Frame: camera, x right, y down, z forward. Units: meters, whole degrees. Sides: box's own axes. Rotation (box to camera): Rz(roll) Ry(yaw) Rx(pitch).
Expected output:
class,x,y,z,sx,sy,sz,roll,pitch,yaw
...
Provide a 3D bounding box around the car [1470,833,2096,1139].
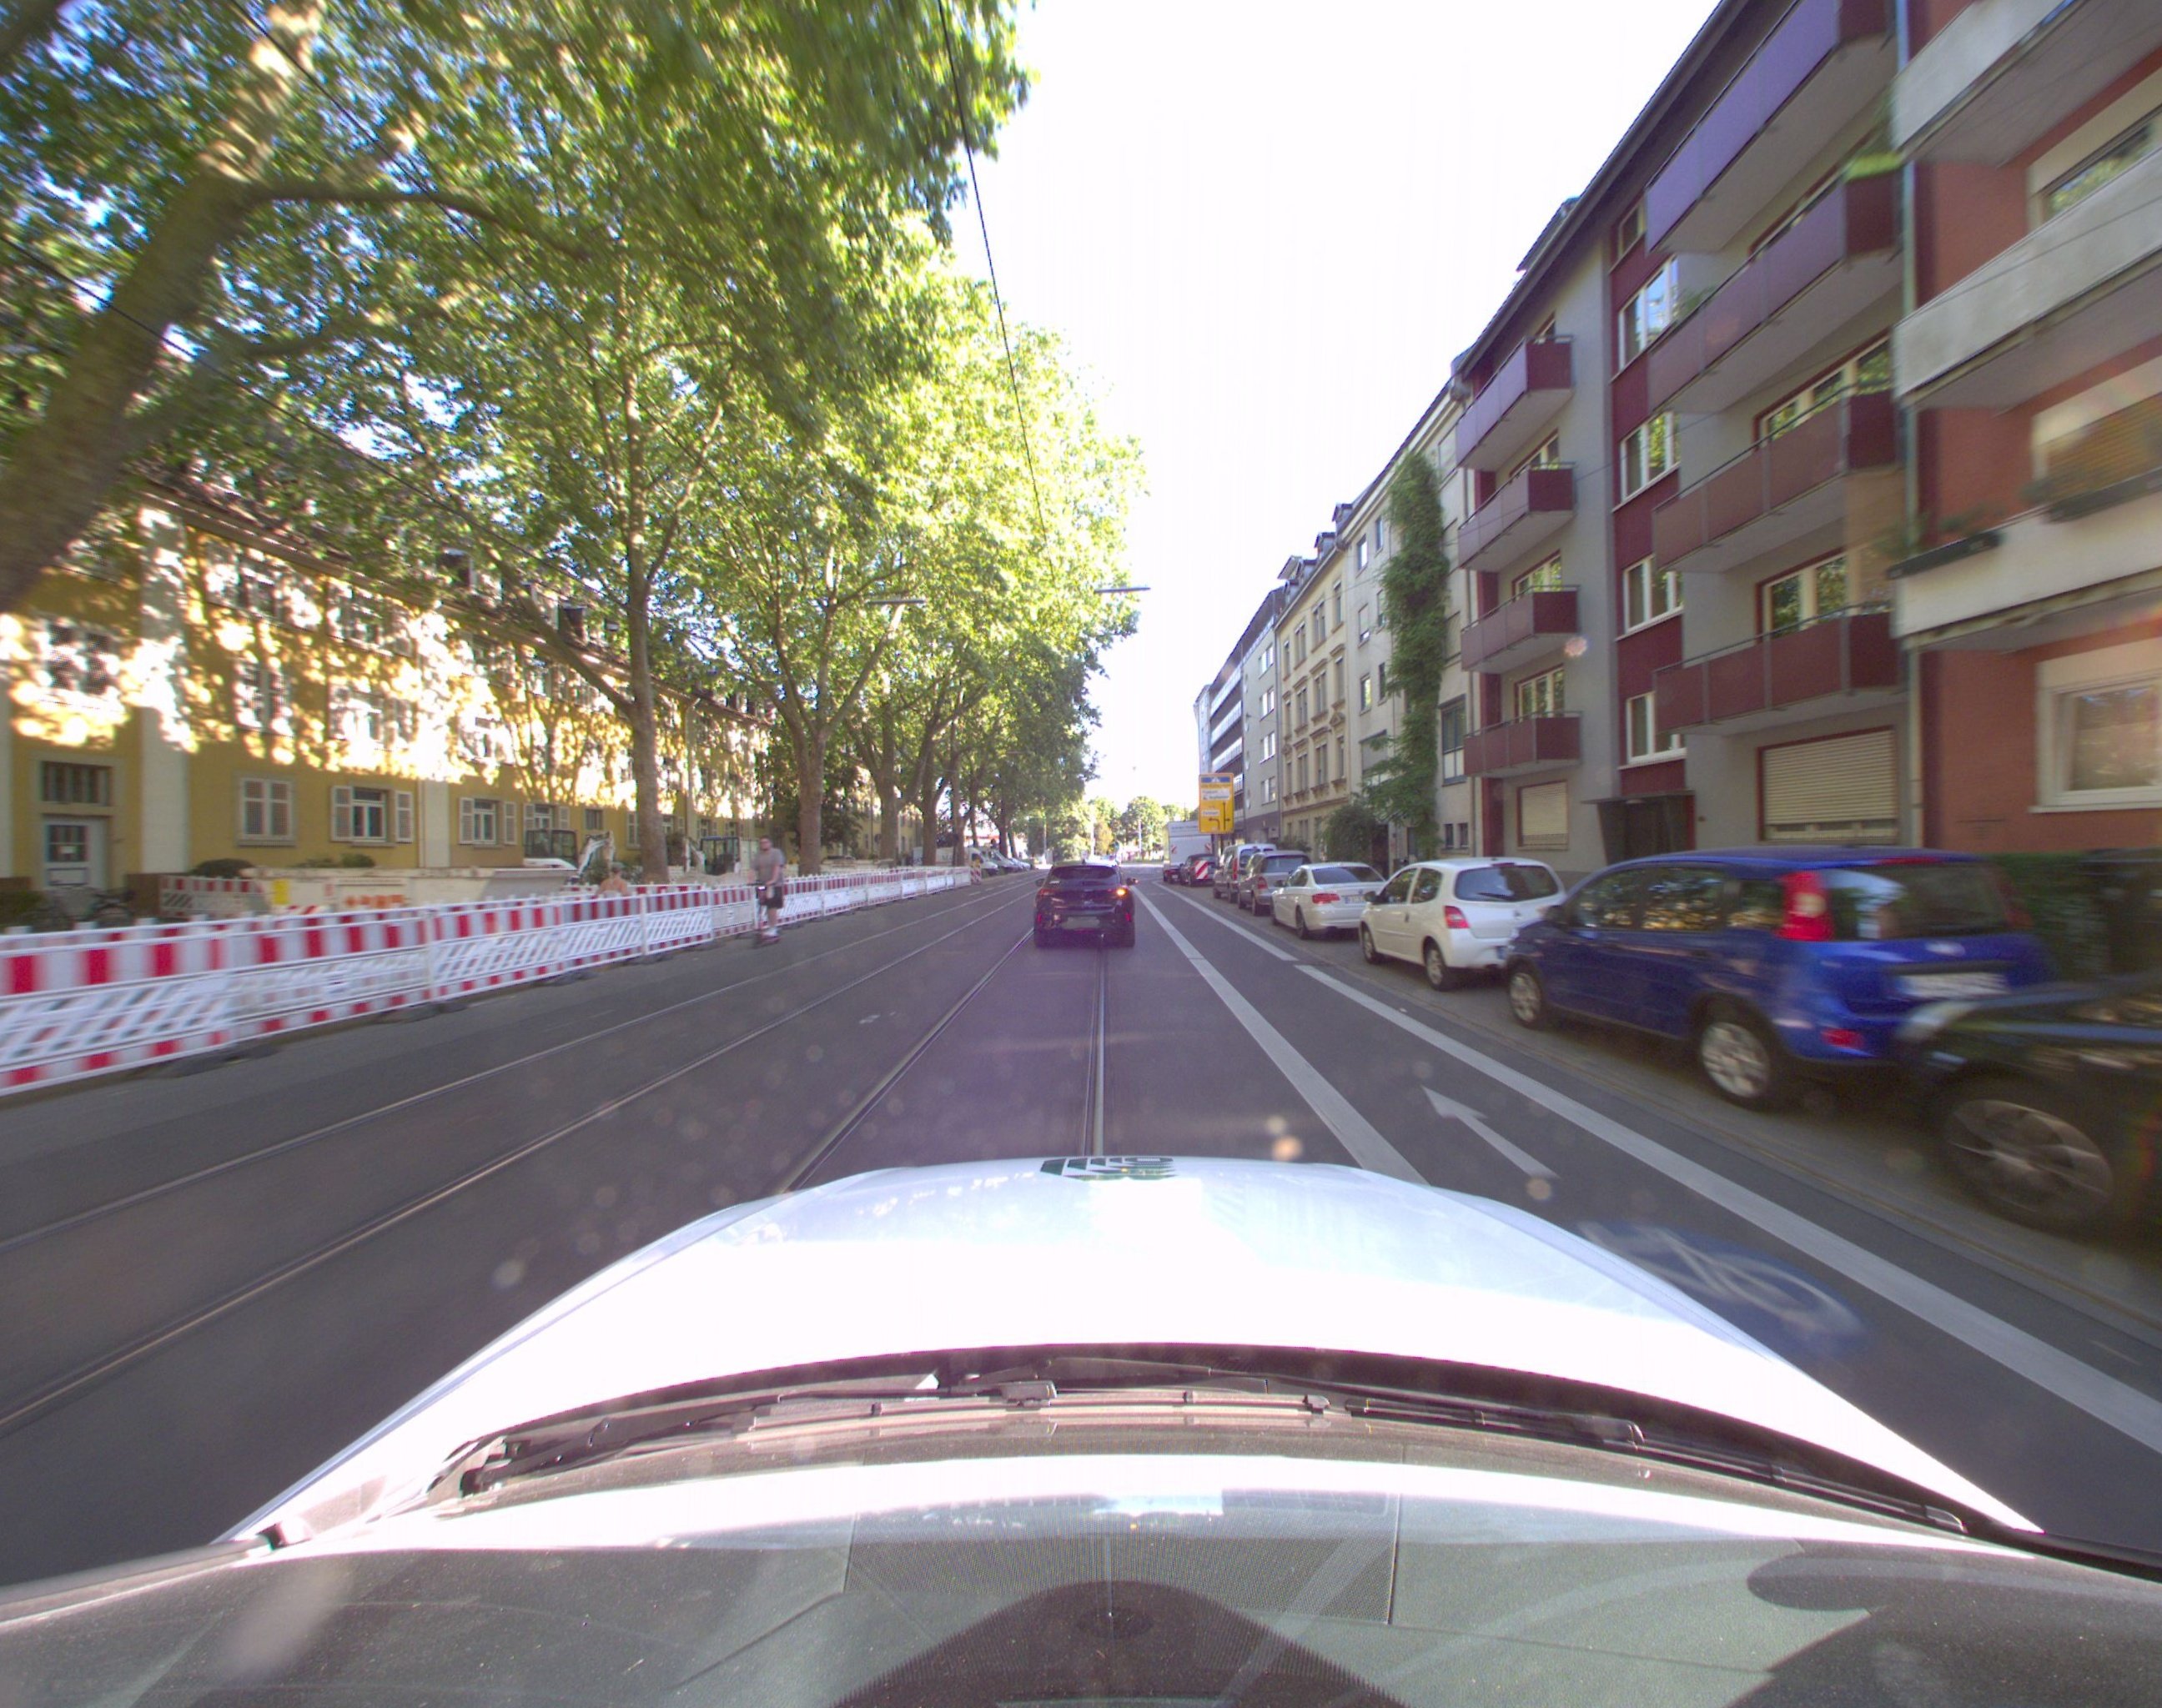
class,x,y,z,sx,sy,sz,roll,pitch,yaw
car,4.570,0.709,6.142,1.521,1.590,3.751,0,-1,0

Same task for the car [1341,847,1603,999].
class,x,y,z,sx,sy,sz,roll,pitch,yaw
car,4.703,0.741,10.447,1.585,1.526,3.837,-3,-1,2

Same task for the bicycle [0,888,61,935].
class,x,y,z,sx,sy,sz,roll,pitch,yaw
bicycle,-20.104,1.074,15.041,0.505,0.819,1.642,-1,0,-2

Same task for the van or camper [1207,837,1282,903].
class,x,y,z,sx,sy,sz,roll,pitch,yaw
van or camper,5.142,0.482,26.120,1.662,1.883,4.213,-2,0,2

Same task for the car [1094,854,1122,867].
class,x,y,z,sx,sy,sz,roll,pitch,yaw
car,3.810,0.949,116.106,2.005,1.695,4.697,-2,0,-27

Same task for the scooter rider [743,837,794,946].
class,x,y,z,sx,sy,sz,roll,pitch,yaw
scooter rider,-5.708,0.672,14.882,0.647,1.957,0.624,0,-1,2

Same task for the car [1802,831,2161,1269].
class,x,y,z,sx,sy,sz,roll,pitch,yaw
car,4.519,0.654,2.180,1.727,1.462,3.917,-3,0,1

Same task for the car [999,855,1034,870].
class,x,y,z,sx,sy,sz,roll,pitch,yaw
car,-7.845,1.036,98.981,4.157,1.671,1.963,-1,-1,-2

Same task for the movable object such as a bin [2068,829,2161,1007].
class,x,y,z,sx,sy,sz,roll,pitch,yaw
movable object such as a bin,8.632,0.483,6.257,1.148,1.327,0.775,0,-1,2

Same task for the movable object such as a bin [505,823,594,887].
class,x,y,z,sx,sy,sz,roll,pitch,yaw
movable object such as a bin,-16.108,0.045,24.776,1.328,1.869,2.008,0,-1,2

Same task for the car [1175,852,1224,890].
class,x,y,z,sx,sy,sz,roll,pitch,yaw
car,5.393,0.765,37.467,1.724,1.557,4.154,-3,-1,2

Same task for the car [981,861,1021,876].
class,x,y,z,sx,sy,sz,roll,pitch,yaw
car,-8.257,1.529,84.383,3.971,1.515,1.651,0,-1,2

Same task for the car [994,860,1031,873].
class,x,y,z,sx,sy,sz,roll,pitch,yaw
car,-7.839,1.438,93.643,3.971,1.515,1.651,0,-1,2

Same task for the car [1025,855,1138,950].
class,x,y,z,sx,sy,sz,roll,pitch,yaw
car,0.062,0.760,14.820,1.775,1.496,4.001,0,0,1

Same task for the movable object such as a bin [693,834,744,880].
class,x,y,z,sx,sy,sz,roll,pitch,yaw
movable object such as a bin,-13.178,0.112,29.647,1.093,1.645,1.560,0,-1,2

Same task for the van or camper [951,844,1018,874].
class,x,y,z,sx,sy,sz,roll,pitch,yaw
van or camper,-8.739,0.467,74.030,5.702,2.644,2.270,0,-1,2

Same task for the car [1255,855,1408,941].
class,x,y,z,sx,sy,sz,roll,pitch,yaw
car,4.800,0.756,16.314,1.653,1.399,4.741,-3,0,1

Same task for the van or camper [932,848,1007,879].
class,x,y,z,sx,sy,sz,roll,pitch,yaw
van or camper,-8.856,0.748,64.775,5.475,2.379,2.272,0,-1,5

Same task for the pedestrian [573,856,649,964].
class,x,y,z,sx,sy,sz,roll,pitch,yaw
pedestrian,-7.485,0.875,13.004,0.714,1.669,0.779,0,-1,2

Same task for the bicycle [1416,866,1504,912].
class,x,y,z,sx,sy,sz,roll,pitch,yaw
bicycle,9.297,0.858,20.010,1.884,1.029,0.477,-3,-1,6

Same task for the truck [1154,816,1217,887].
class,x,y,z,sx,sy,sz,roll,pitch,yaw
truck,5.461,-0.122,43.494,2.528,3.338,7.198,-3,-1,2

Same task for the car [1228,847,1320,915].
class,x,y,z,sx,sy,sz,roll,pitch,yaw
car,4.933,0.640,21.273,1.653,1.580,3.591,-2,0,2

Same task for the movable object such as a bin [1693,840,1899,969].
class,x,y,z,sx,sy,sz,roll,pitch,yaw
movable object such as a bin,8.063,0.531,9.314,0.920,1.327,1.682,0,-1,2

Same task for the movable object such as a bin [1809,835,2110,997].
class,x,y,z,sx,sy,sz,roll,pitch,yaw
movable object such as a bin,7.984,0.515,7.553,0.963,1.327,1.722,0,-1,2

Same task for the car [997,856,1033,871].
class,x,y,z,sx,sy,sz,roll,pitch,yaw
car,-7.804,1.088,96.626,4.157,1.671,1.963,-1,-1,-2

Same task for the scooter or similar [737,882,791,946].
class,x,y,z,sx,sy,sz,roll,pitch,yaw
scooter or similar,-5.790,1.072,14.949,0.406,1.083,1.339,0,-1,2
